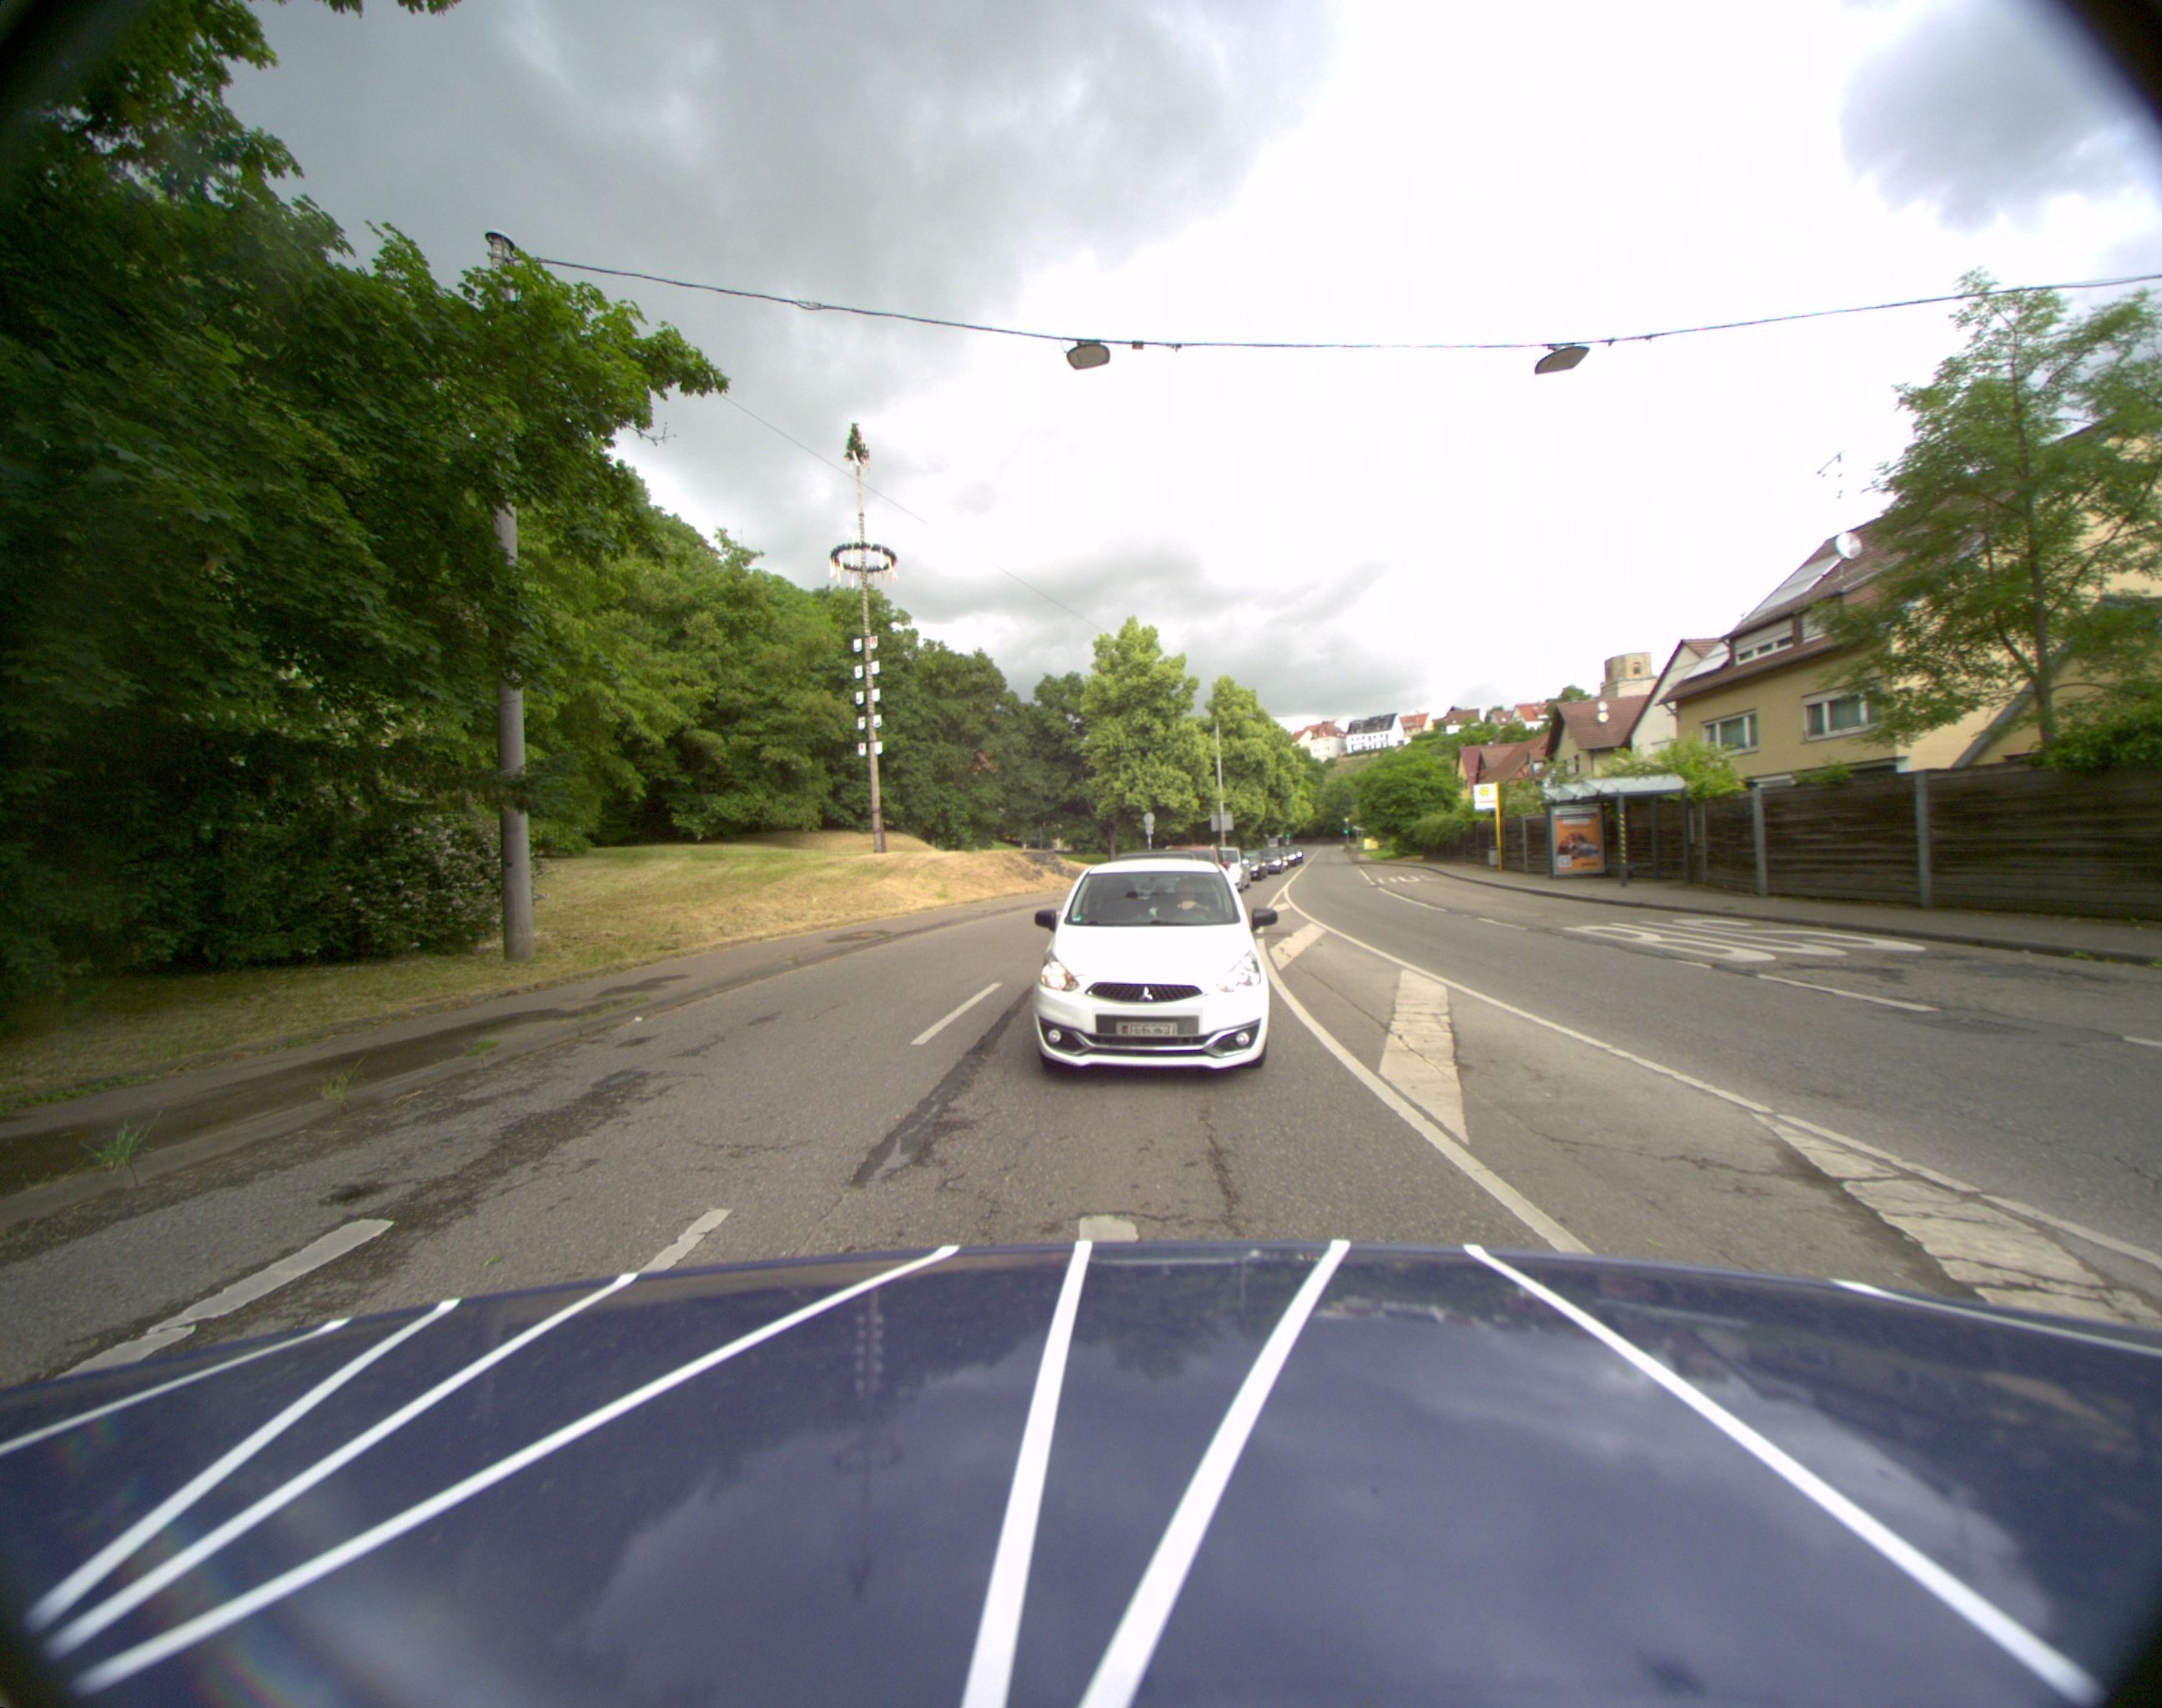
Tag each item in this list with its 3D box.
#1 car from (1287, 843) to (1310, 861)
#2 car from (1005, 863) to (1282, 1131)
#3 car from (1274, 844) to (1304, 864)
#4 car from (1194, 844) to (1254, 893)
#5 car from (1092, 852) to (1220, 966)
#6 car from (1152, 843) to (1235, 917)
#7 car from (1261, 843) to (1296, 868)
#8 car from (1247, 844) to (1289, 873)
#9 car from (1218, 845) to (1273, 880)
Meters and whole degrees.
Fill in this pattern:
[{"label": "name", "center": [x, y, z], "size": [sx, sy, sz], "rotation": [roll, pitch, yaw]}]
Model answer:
[{"label": "car", "center": [17.022, -0.166, 59.499], "size": [1.417, 1.242, 3.300], "rotation": [-2, 1, 21]}, {"label": "car", "center": [0.601, 0.908, 6.617], "size": [1.627, 1.499, 4.001], "rotation": [-2, 1, 7]}, {"label": "car", "center": [14.675, -0.019, 53.439], "size": [1.642, 1.262, 3.630], "rotation": [-2, 1, 21]}, {"label": "car", "center": [5.202, 0.463, 27.282], "size": [1.781, 1.560, 4.004], "rotation": [-2, 1, 15]}, {"label": "car", "center": [1.301, 0.774, 12.631], "size": [1.729, 1.512, 4.002], "rotation": [-2, 1, 8]}, {"label": "car", "center": [2.970, 0.579, 19.400], "size": [1.673, 1.632, 4.104], "rotation": [-2, 1, 13]}, {"label": "car", "center": [12.499, 0.073, 48.001], "size": [1.704, 1.438, 3.872], "rotation": [-2, 1, 21]}, {"label": "car", "center": [10.328, 0.214, 41.731], "size": [1.694, 1.403, 3.987], "rotation": [-2, 1, 21]}, {"label": "car", "center": [7.763, 0.385, 35.568], "size": [1.851, 1.449, 4.005], "rotation": [-2, 1, 21]}]
